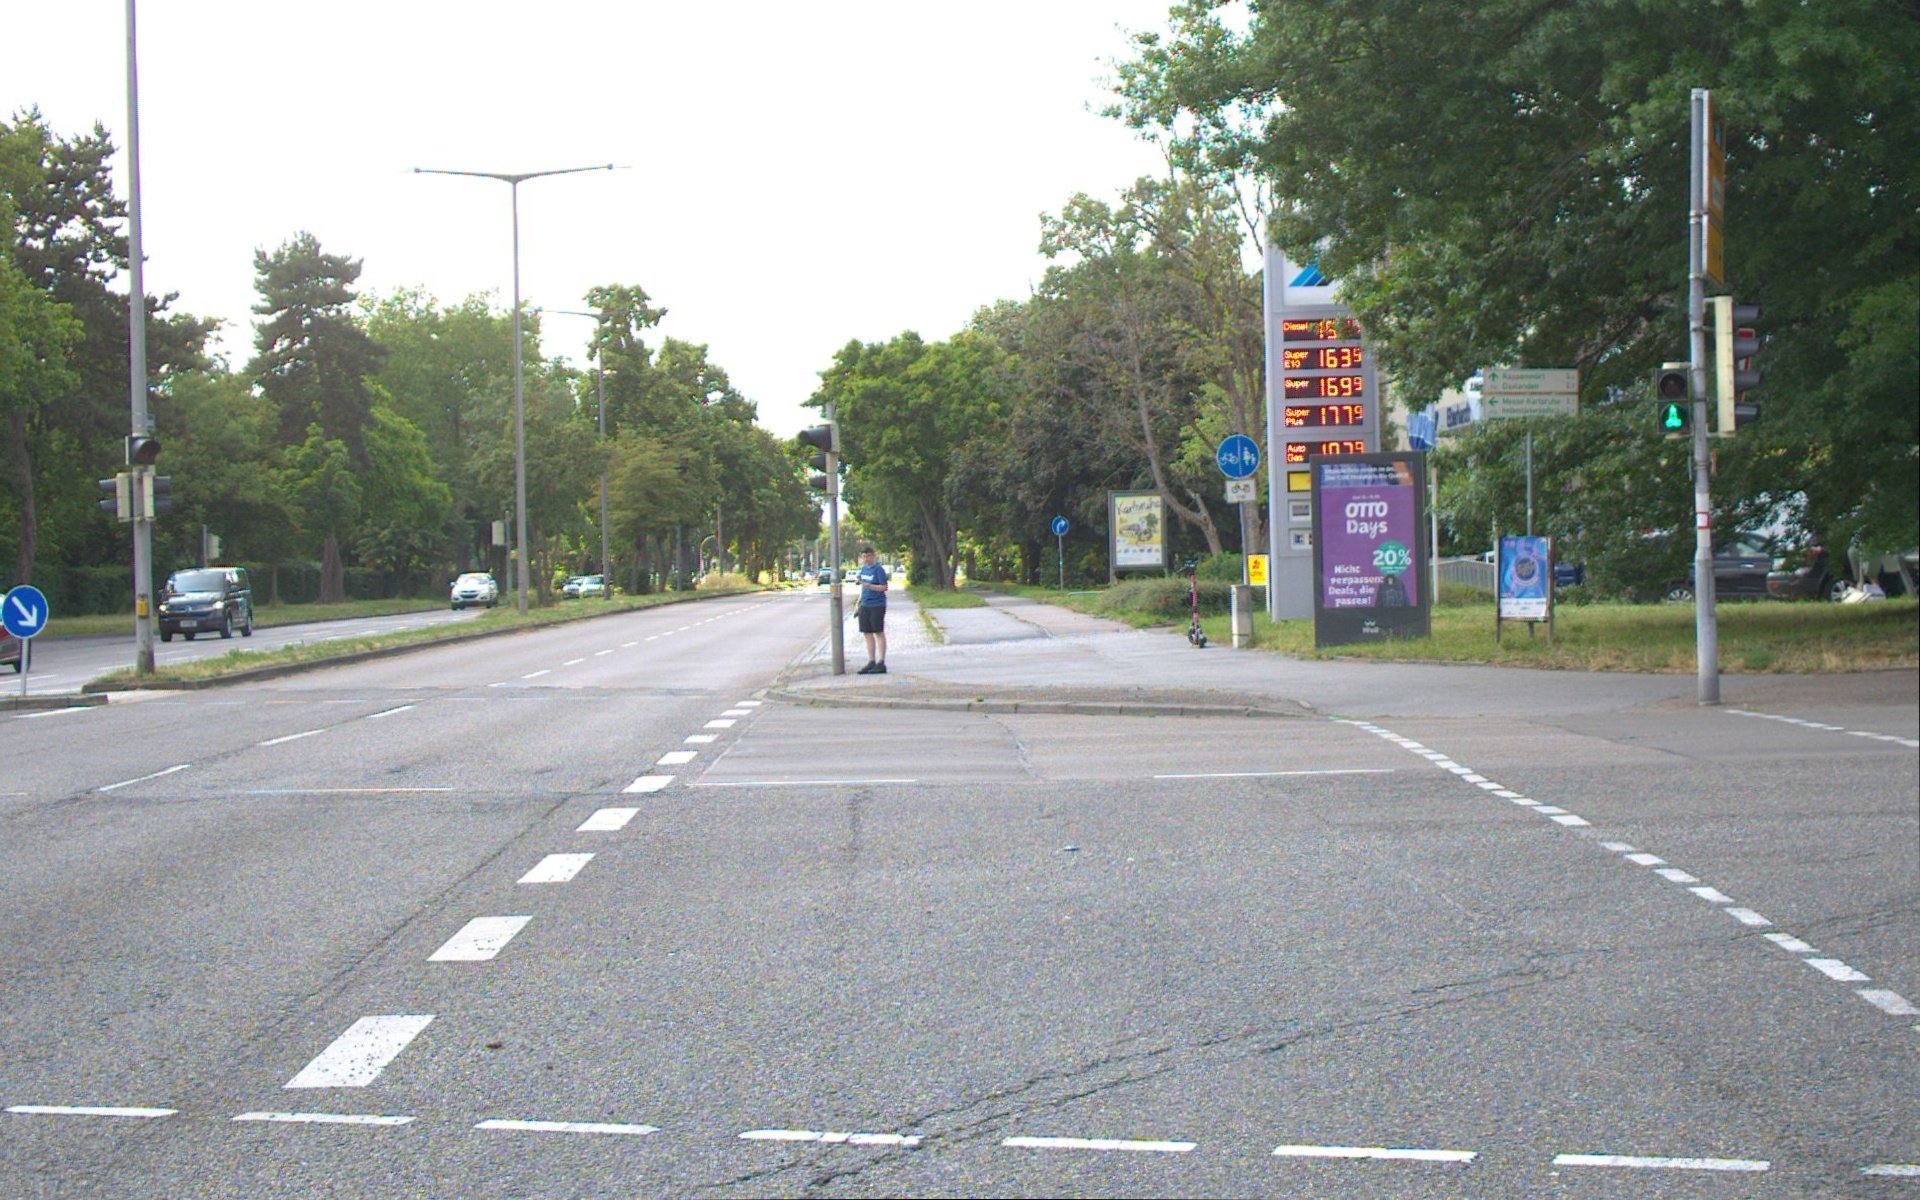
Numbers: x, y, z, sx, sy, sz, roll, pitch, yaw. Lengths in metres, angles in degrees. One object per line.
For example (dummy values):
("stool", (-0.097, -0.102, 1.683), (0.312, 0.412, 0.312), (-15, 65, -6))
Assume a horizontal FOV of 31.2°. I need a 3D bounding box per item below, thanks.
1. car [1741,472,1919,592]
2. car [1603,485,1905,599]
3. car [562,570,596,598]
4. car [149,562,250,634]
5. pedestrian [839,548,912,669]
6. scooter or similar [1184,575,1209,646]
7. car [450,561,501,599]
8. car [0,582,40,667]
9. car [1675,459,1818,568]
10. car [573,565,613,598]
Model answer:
("car", (15.370, -1.111, 54.904), (5.179, 1.820, 2.154), (-2, 1, -11))
("car", (15.175, -1.103, 65.869), (5.180, 1.997, 2.154), (-2, 1, -4))
("car", (-23.903, -1.022, 215.878), (1.860, 1.699, 4.456), (-2, 1, -3))
("car", (-21.058, -0.073, 95.353), (1.765, 1.850, 4.817), (-2, 1, -1))
("pedestrian", (-1.088, 0.101, 44.291), (0.725, 1.526, 0.760), (-2, 0, -17))
("scooter or similar", (3.340, 0.139, 48.533), (0.221, 0.976, 1.272), (-2, 1, -1))
("car", (-22.680, -0.959, 161.152), (1.860, 1.699, 4.456), (-2, 1, -2))
("car", (-17.610, 0.453, 60.654), (1.771, 1.460, 4.456), (-2, 1, -4))
("car", (18.600, -2.001, 81.556), (1.750, 2.445, 5.751), (-2, 1, -3))
("car", (-19.855, -1.004, 186.025), (1.860, 1.699, 4.456), (-2, 1, -3))
